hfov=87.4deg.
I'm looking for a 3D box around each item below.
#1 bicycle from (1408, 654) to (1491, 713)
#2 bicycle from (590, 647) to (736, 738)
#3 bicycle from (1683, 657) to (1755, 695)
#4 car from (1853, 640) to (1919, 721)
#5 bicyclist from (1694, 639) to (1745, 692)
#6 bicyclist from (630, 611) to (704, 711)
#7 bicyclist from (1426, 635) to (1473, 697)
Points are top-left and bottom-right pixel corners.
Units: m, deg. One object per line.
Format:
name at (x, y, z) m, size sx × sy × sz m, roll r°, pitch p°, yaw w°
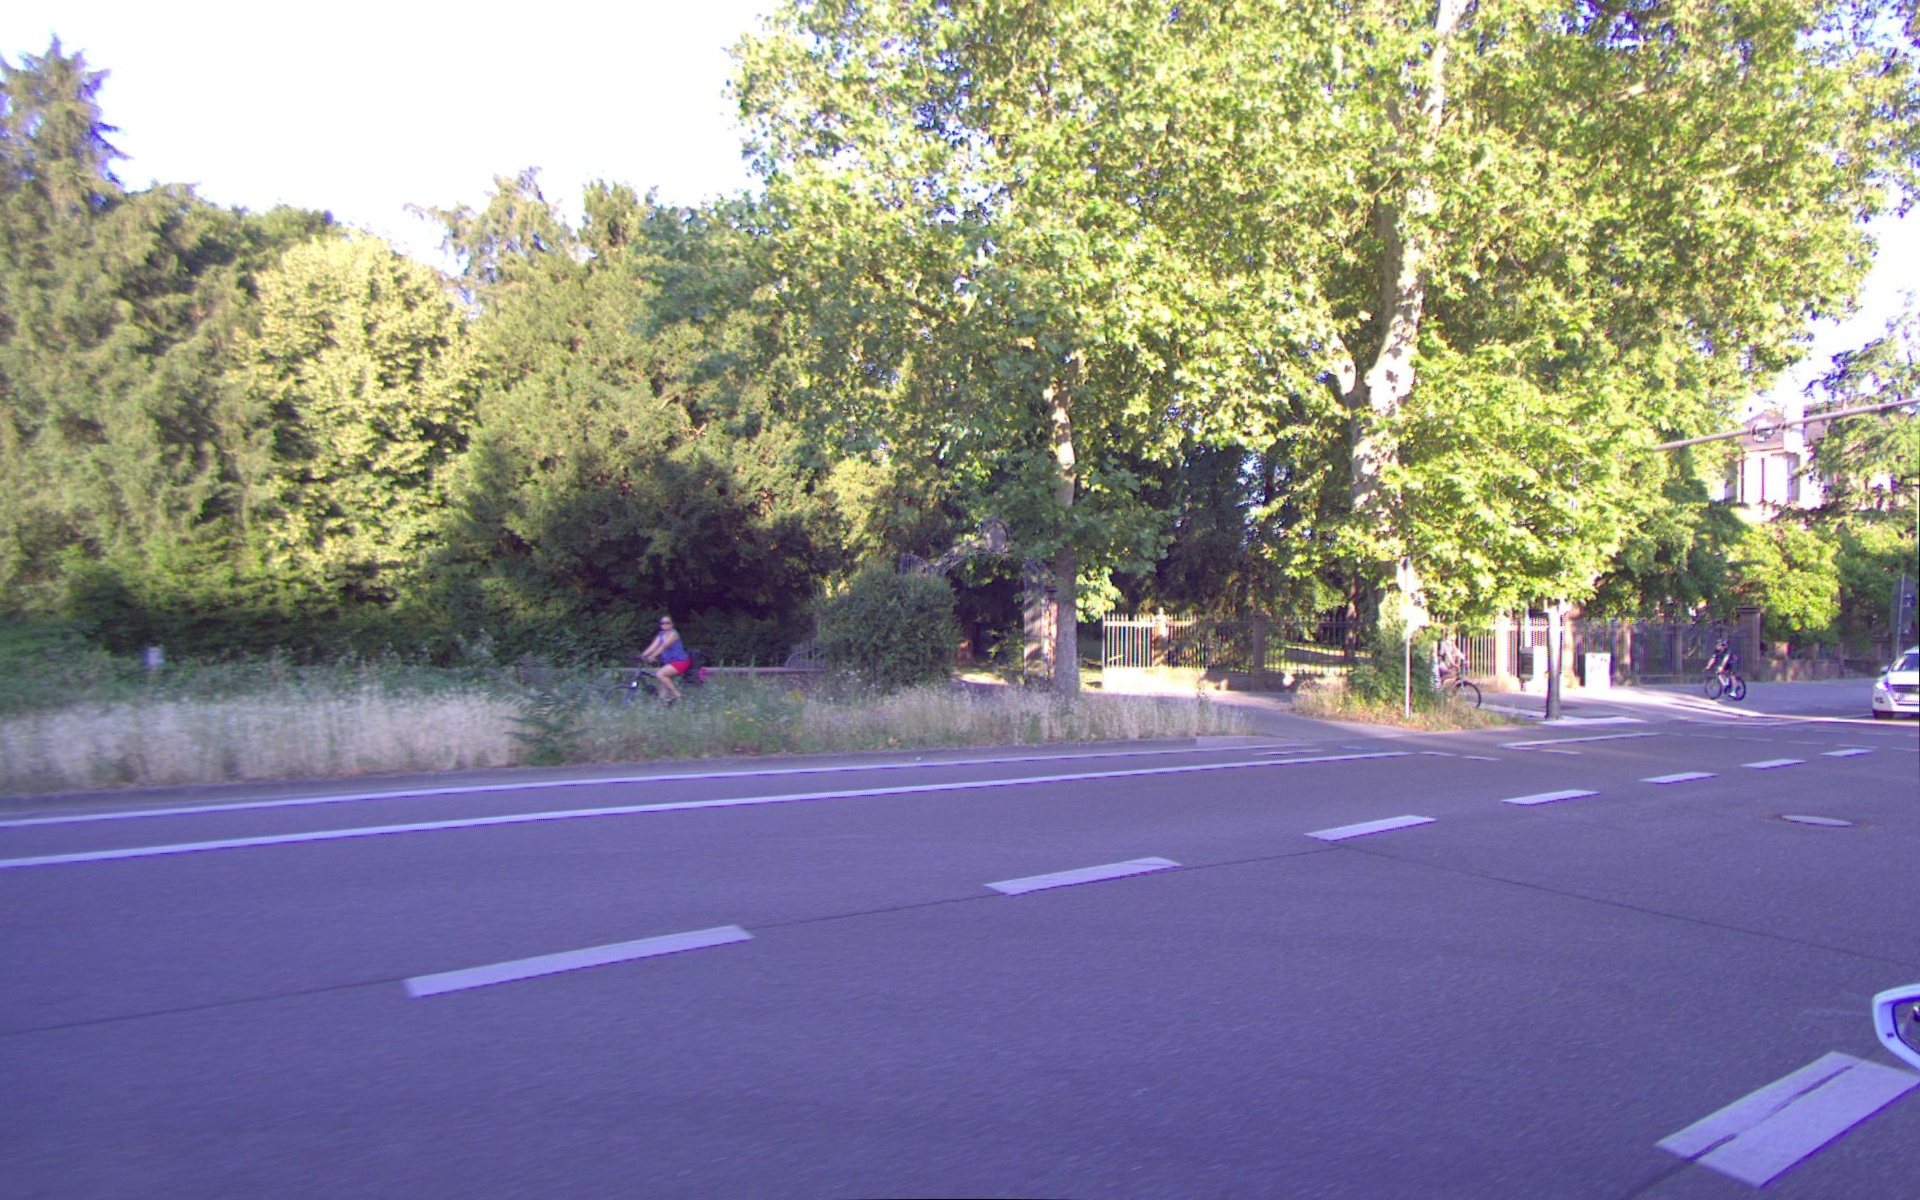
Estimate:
bicycle at (11.151, 1.872, 22.901) m, size 0.568 × 1.245 × 1.613 m, roll 2°, pitch -2°, yaw -40°
bicycle at (-4.438, 1.355, 15.071) m, size 1.957 × 1.273 × 0.785 m, roll 2°, pitch -2°, yaw -31°
bicycle at (21.453, 2.127, 28.375) m, size 2.172 × 1.029 × 0.851 m, roll 2°, pitch -2°, yaw -30°
car at (22.214, 1.784, 22.786) m, size 4.381 × 1.717 × 1.905 m, roll 2°, pitch -4°, yaw -34°
bicyclist at (21.479, 1.833, 28.413) m, size 0.932 × 1.450 × 0.851 m, roll 2°, pitch -2°, yaw -30°
bicyclist at (-4.411, 0.906, 15.092) m, size 0.882 × 1.446 × 0.785 m, roll 2°, pitch -2°, yaw -30°
bicyclist at (11.169, 1.495, 22.925) m, size 0.568 × 1.379 × 0.829 m, roll 2°, pitch -2°, yaw -40°
